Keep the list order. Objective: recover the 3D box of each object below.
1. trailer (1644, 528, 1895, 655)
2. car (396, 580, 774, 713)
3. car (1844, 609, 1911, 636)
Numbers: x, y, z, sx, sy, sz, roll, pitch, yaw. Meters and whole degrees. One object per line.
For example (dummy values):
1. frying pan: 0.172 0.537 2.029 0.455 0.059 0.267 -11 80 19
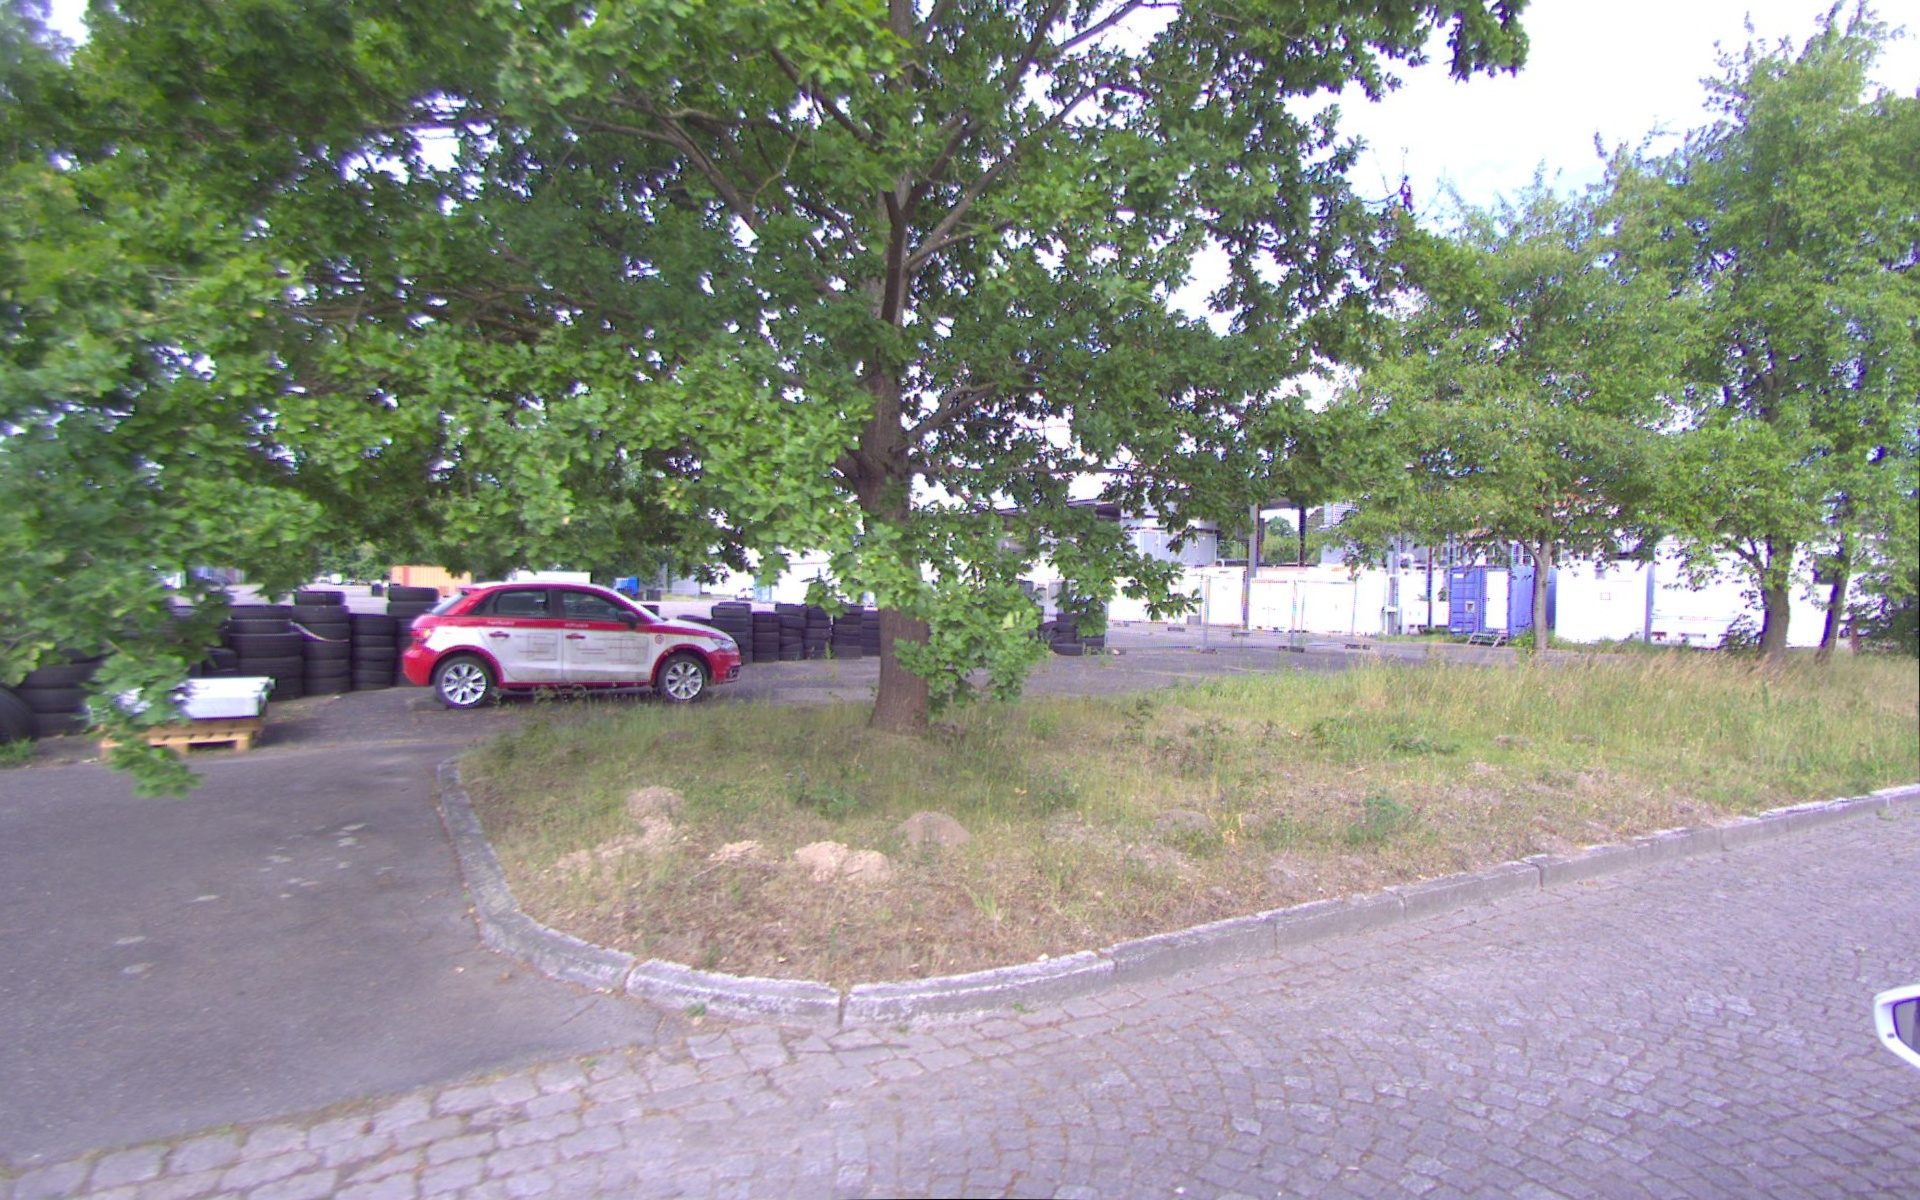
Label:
1. trailer: 27.216 -0.184 33.556 10.588 3.755 2.645 1 0 -29
2. car: -4.625 0.526 12.674 4.161 1.451 1.818 1 1 -25
3. car: 56.044 1.375 61.373 3.952 1.596 1.892 1 0 -29
